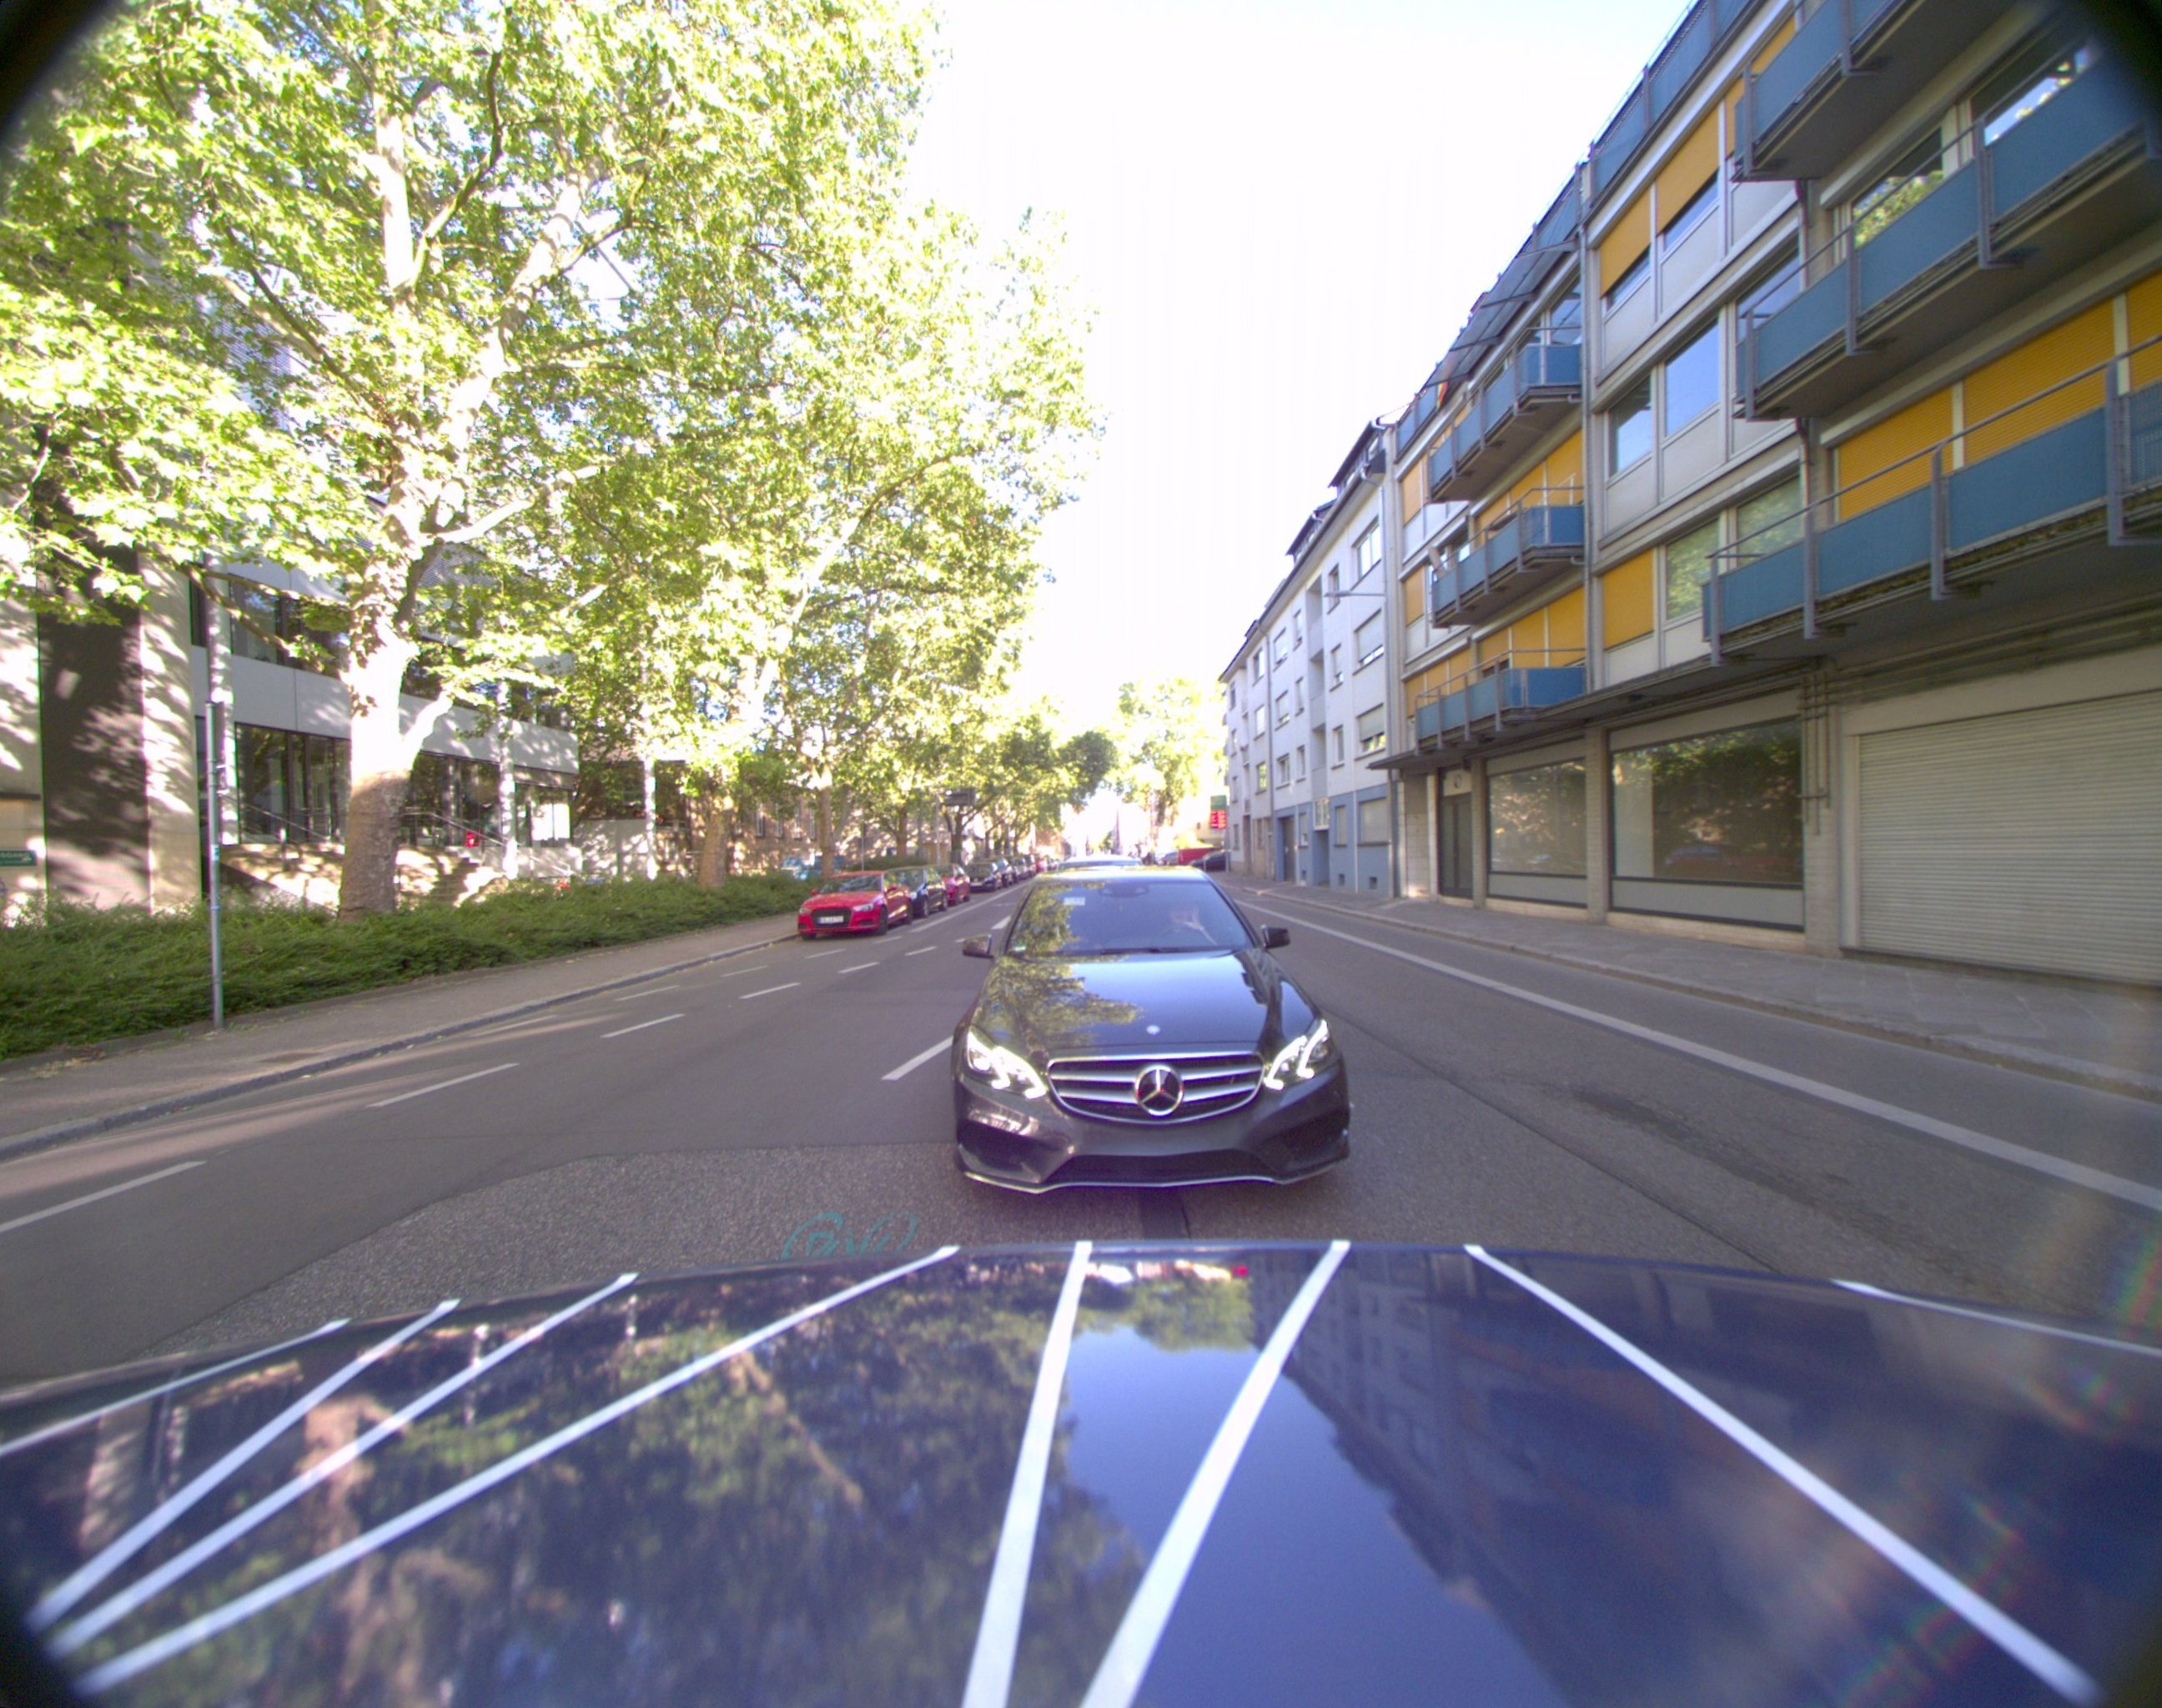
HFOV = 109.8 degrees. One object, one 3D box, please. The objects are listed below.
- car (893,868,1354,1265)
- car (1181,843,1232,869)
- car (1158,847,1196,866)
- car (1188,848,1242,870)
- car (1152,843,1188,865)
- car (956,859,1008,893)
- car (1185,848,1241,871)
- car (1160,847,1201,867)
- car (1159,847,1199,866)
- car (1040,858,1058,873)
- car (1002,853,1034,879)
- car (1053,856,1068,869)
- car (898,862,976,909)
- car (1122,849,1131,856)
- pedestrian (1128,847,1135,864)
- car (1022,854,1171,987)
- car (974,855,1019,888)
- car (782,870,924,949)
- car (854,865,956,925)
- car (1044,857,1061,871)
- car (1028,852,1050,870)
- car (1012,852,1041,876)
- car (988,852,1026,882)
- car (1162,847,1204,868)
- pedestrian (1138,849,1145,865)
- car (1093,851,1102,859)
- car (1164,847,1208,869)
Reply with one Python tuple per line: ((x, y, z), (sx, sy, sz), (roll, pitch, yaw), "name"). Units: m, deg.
((0.208, 0.930, 5.398), (1.866, 1.492, 4.481), (-2, 0, 1), "car")
((10.556, 0.152, 64.014), (3.996, 1.936, 2.000), (-2, 1, 2), "car")
((10.745, 0.239, 84.969), (3.996, 1.936, 2.000), (-2, 1, 2), "car")
((10.723, 0.374, 61.182), (3.996, 1.543, 2.000), (-2, 1, 2), "car")
((10.499, 0.001, 89.497), (3.996, 2.505, 2.000), (-2, 1, 2), "car")
((-4.750, 1.022, 37.163), (1.866, 1.442, 4.481), (-2, 0, 1), "car")
((10.182, 0.421, 58.860), (3.996, 1.543, 2.000), (-2, 1, 2), "car")
((10.469, 0.305, 79.987), (3.996, 1.936, 2.000), (-2, 1, 2), "car")
((10.599, 0.272, 82.475), (3.996, 1.936, 2.000), (-2, 1, 2), "car")
((-3.755, 1.318, 89.975), (1.866, 1.632, 4.481), (-2, 0, 1), "car")
((-4.496, 0.816, 54.791), (1.866, 1.749, 4.481), (-2, 0, 1), "car")
((-2.812, 1.109, 105.181), (1.866, 1.632, 4.481), (-2, 0, 1), "car")
((-5.083, 1.063, 27.416), (1.866, 1.442, 4.481), (-2, 0, 1), "car")
((10.824, -0.276, 180.784), (1.866, 1.632, 4.481), (-2, 0, 1), "car")
((6.308, 0.188, 95.076), (0.735, 2.002, 0.797), (-2, 1, 1), "pedestrian")
((0.228, 0.855, 11.921), (1.866, 1.630, 4.303), (-2, 0, 1), "car")
((-4.615, 0.905, 42.198), (1.866, 1.658, 4.481), (-2, 0, 1), "car")
((-5.100, 1.175, 17.722), (1.866, 1.442, 4.481), (-2, 0, 1), "car")
((-5.039, 1.122, 22.372), (1.866, 1.442, 4.481), (-2, 0, 1), "car")
((-3.645, 1.234, 96.774), (1.866, 1.632, 4.481), (-2, 0, 1), "car")
((-4.190, 0.702, 76.269), (1.866, 1.632, 4.481), (-2, 0, 1), "car")
((-4.238, 0.753, 59.747), (1.866, 1.749, 4.481), (-2, 0, 1), "car")
((-4.626, 0.781, 48.124), (1.866, 1.749, 4.481), (-2, 0, 1), "car")
((10.340, 0.342, 77.136), (3.996, 1.936, 2.000), (-2, 1, 2), "car")
((7.563, 0.342, 95.178), (0.735, 2.002, 1.046), (-2, 1, -1), "pedestrian")
((3.678, 0.179, 170.787), (1.866, 1.632, 4.481), (-2, 0, 1), "car")
((10.256, 0.374, 74.495), (3.996, 1.936, 2.000), (-2, 1, 2), "car")
